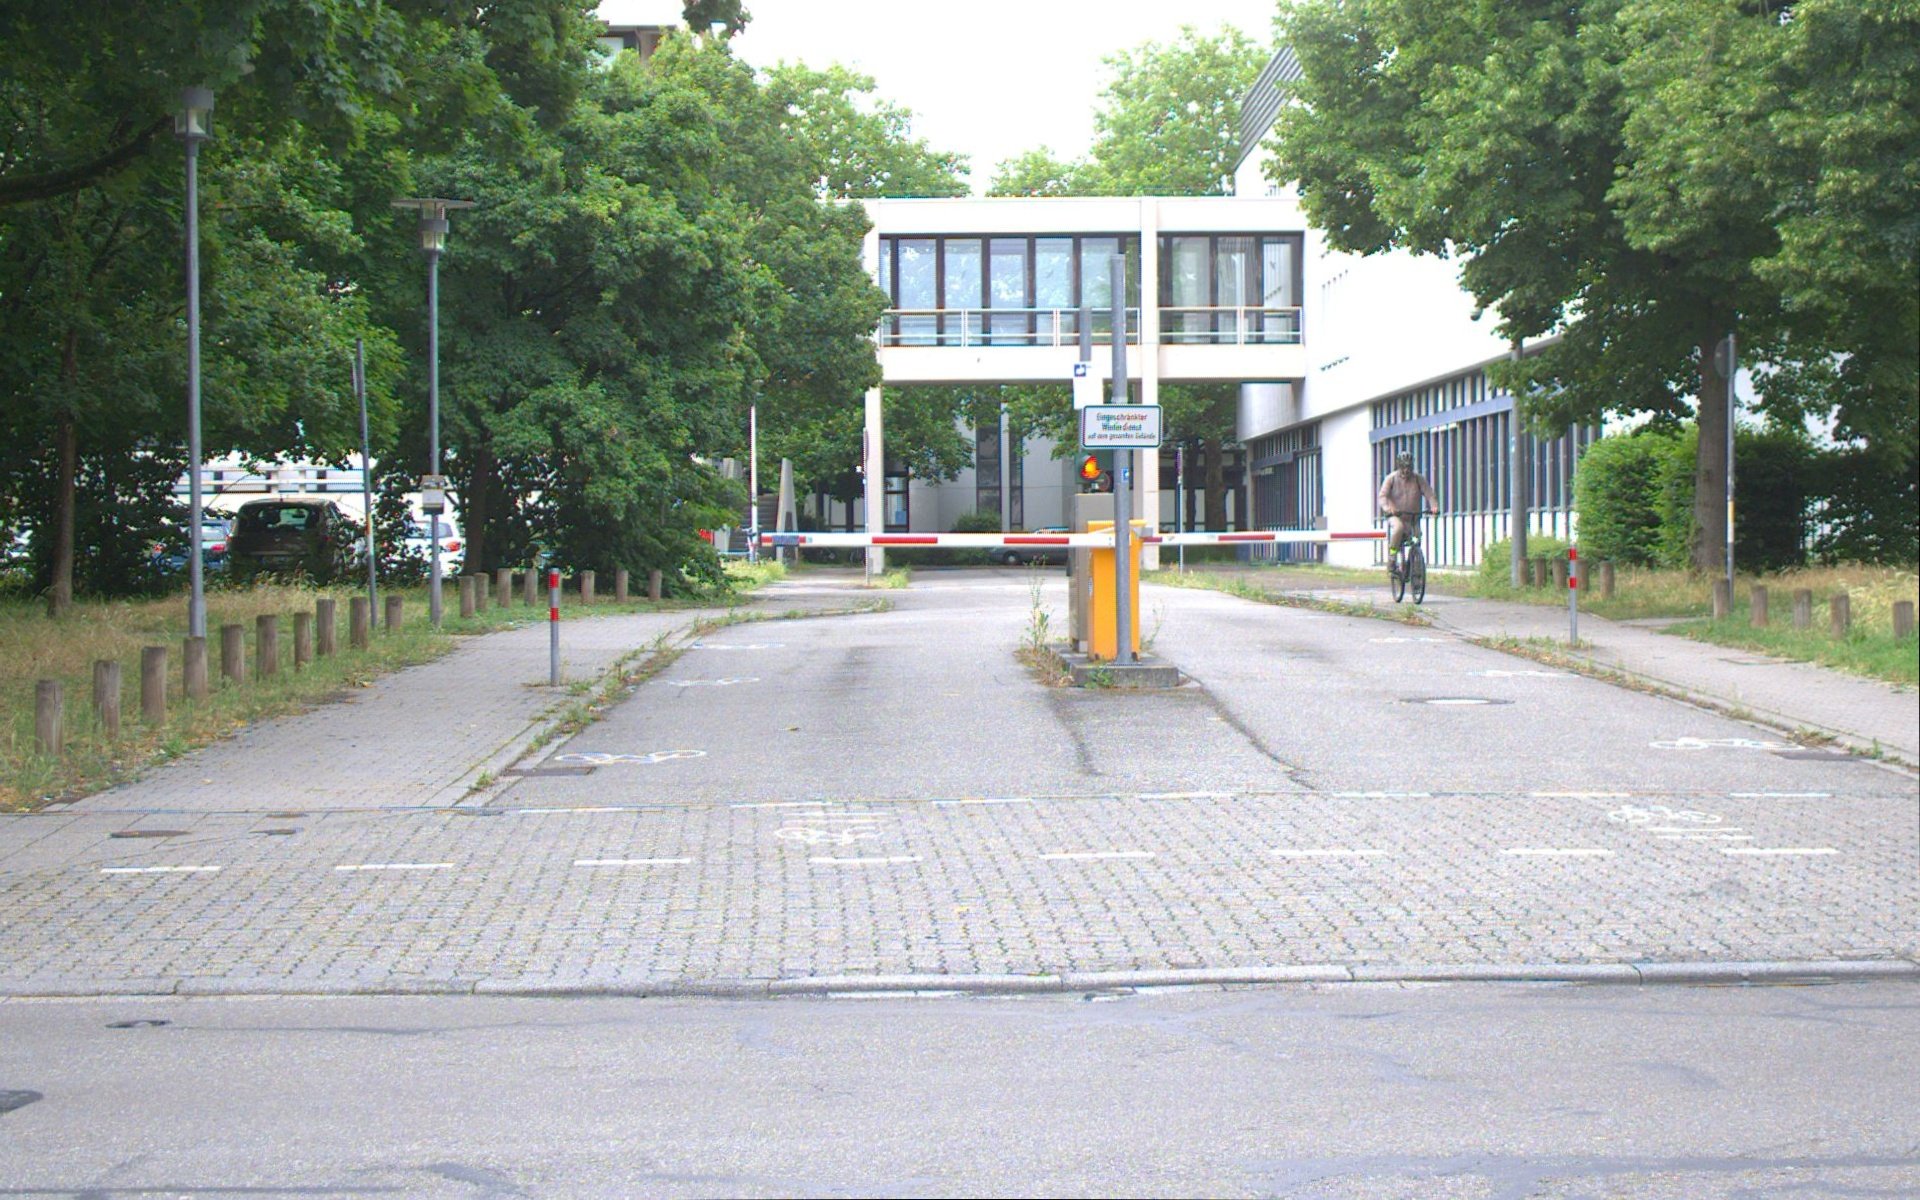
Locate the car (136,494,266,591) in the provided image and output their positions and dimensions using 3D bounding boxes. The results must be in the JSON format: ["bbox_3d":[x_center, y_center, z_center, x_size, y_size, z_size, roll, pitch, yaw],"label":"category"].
[{"bbox_3d":[-14.758,-1.095,67.038,1.993,1.788,4.001,-1,0,-6],"label":"car"}]

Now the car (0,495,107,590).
[{"bbox_3d":[-17.855,-1.087,66.649,1.993,1.722,4.001,-1,0,-6],"label":"car"}]

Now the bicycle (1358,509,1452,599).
[{"bbox_3d":[5.527,-0.582,42.771,0.866,1.071,2.142,0,2,0],"label":"bicycle"}]

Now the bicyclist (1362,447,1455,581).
[{"bbox_3d":[5.554,-1.069,42.589,1.017,1.639,0.923,0,2,-1],"label":"bicyclist"}]

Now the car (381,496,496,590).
[{"bbox_3d":[-10.165,-1.102,67.190,1.993,1.756,4.001,-1,0,-6],"label":"car"}]
